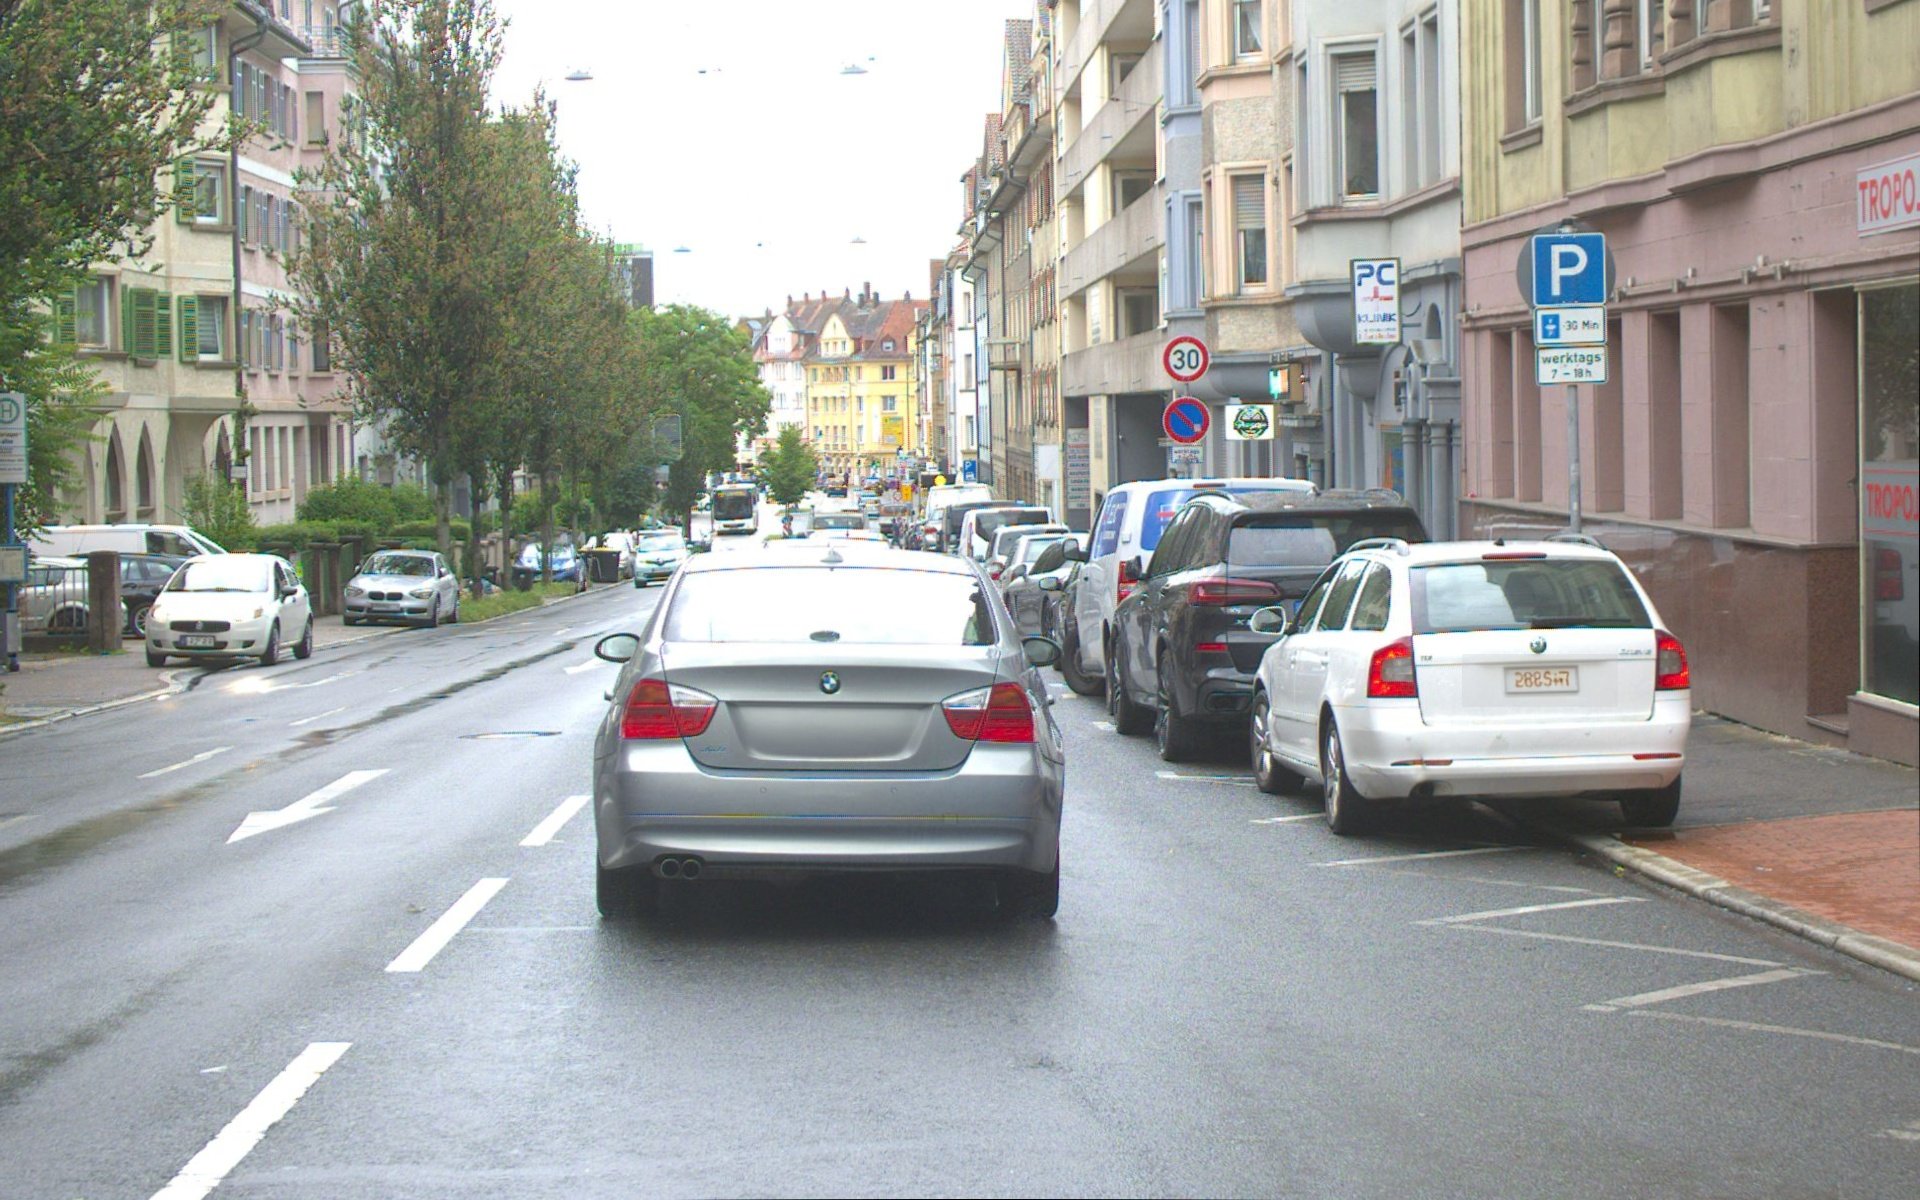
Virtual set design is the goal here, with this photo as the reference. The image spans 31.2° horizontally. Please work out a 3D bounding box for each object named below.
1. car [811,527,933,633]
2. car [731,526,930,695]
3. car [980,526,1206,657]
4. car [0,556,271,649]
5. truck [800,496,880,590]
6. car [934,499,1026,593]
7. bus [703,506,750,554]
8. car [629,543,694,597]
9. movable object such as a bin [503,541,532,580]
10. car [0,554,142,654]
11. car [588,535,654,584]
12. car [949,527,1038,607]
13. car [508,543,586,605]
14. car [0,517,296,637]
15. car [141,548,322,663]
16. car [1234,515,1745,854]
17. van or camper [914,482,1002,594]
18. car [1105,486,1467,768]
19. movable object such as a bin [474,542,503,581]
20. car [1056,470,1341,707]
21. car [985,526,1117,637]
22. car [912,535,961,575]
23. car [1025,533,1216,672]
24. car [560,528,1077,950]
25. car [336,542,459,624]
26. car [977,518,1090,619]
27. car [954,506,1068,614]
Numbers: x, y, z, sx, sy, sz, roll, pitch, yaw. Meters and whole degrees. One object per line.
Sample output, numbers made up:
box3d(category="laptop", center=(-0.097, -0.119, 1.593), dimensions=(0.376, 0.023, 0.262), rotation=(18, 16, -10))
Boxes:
box3d(category="car", center=(-1.326, -0.302, 50.434), dimensions=(1.697, 1.478, 3.794), rotation=(1, 1, -2))
box3d(category="car", center=(-1.127, 0.069, 31.307), dimensions=(1.681, 1.423, 3.741), rotation=(1, 1, -1))
box3d(category="car", center=(1.518, -0.132, 41.205), dimensions=(1.875, 1.462, 4.776), rotation=(1, 1, -8))
box3d(category="car", center=(-14.090, 0.026, 58.432), dimensions=(4.431, 1.446, 1.792), rotation=(-1, 1, -4))
box3d(category="truck", center=(-3.198, -1.497, 91.254), dimensions=(2.031, 2.404, 4.827), rotation=(1, 1, -2))
box3d(category="car", center=(0.455, -1.304, 82.741), dimensions=(1.981, 2.158, 4.750), rotation=(-2, 1, -2))
box3d(category="bus", center=(-15.151, -4.531, 223.599), dimensions=(2.668, 3.014, 7.671), rotation=(-2, 1, -2))
box3d(category="car", center=(-8.888, -0.908, 102.542), dimensions=(1.636, 1.503, 3.755), rotation=(-3, 1, -2))
box3d(category="movable object such as a bin", center=(-10.577, -0.944, 82.101), dimensions=(0.574, 0.909, 0.640), rotation=(-2, 1, -16))
box3d(category="car", center=(-14.547, 0.077, 52.364), dimensions=(3.880, 1.452, 1.793), rotation=(-2, 1, -9))
box3d(category="car", center=(-11.416, -1.378, 115.955), dimensions=(1.827, 1.518, 3.737), rotation=(-3, 1, -1))
box3d(category="car", center=(0.716, -0.752, 75.688), dimensions=(1.726, 1.664, 4.289), rotation=(-2, 1, -2))
box3d(category="car", center=(-11.303, -0.731, 94.300), dimensions=(1.766, 1.588, 4.001), rotation=(-3, 1, -3))
box3d(category="car", center=(-14.333, -0.415, 60.632), dimensions=(4.828, 1.967, 2.048), rotation=(-1, 1, -2))
box3d(category="car", center=(-9.750, 0.036, 46.273), dimensions=(1.621, 1.441, 4.005), rotation=(-1, 1, -1))
box3d(category="car", center=(2.664, 0.358, 18.360), dimensions=(1.798, 1.559, 4.493), rotation=(1, 1, -3))
box3d(category="van or camper", center=(-0.013, -1.692, 93.224), dimensions=(2.033, 2.859, 6.885), rotation=(2, 1, 2))
box3d(category="car", center=(2.127, 0.128, 23.714), dimensions=(1.878, 1.725, 4.677), rotation=(1, 1, -2))
box3d(category="movable object such as a bin", center=(-11.245, -0.921, 81.956), dimensions=(0.574, 0.909, 0.640), rotation=(-2, 1, -16))
box3d(category="car", center=(1.960, -0.136, 29.735), dimensions=(1.919, 1.821, 5.010), rotation=(-2, 1, -2))
box3d(category="car", center=(1.234, -0.287, 48.056), dimensions=(1.611, 1.469, 4.016), rotation=(1, 1, -2))
box3d(category="car", center=(-0.897, -1.712, 131.188), dimensions=(1.697, 1.478, 3.976), rotation=(1, 1, -2))
box3d(category="car", center=(1.631, -0.012, 36.265), dimensions=(1.677, 1.370, 4.276), rotation=(0, 1, -2))
box3d(category="car", center=(-0.537, 0.444, 13.763), dimensions=(1.769, 1.423, 3.741), rotation=(1, 1, -1))
box3d(category="car", center=(-10.729, -0.339, 65.769), dimensions=(1.726, 1.478, 3.989), rotation=(1, 0, -1))
box3d(category="car", center=(1.273, -0.580, 61.298), dimensions=(1.726, 1.664, 4.289), rotation=(-3, 1, -2))
box3d(category="car", center=(0.967, -0.802, 68.085), dimensions=(1.981, 2.000, 4.625), rotation=(-2, 1, -2))
